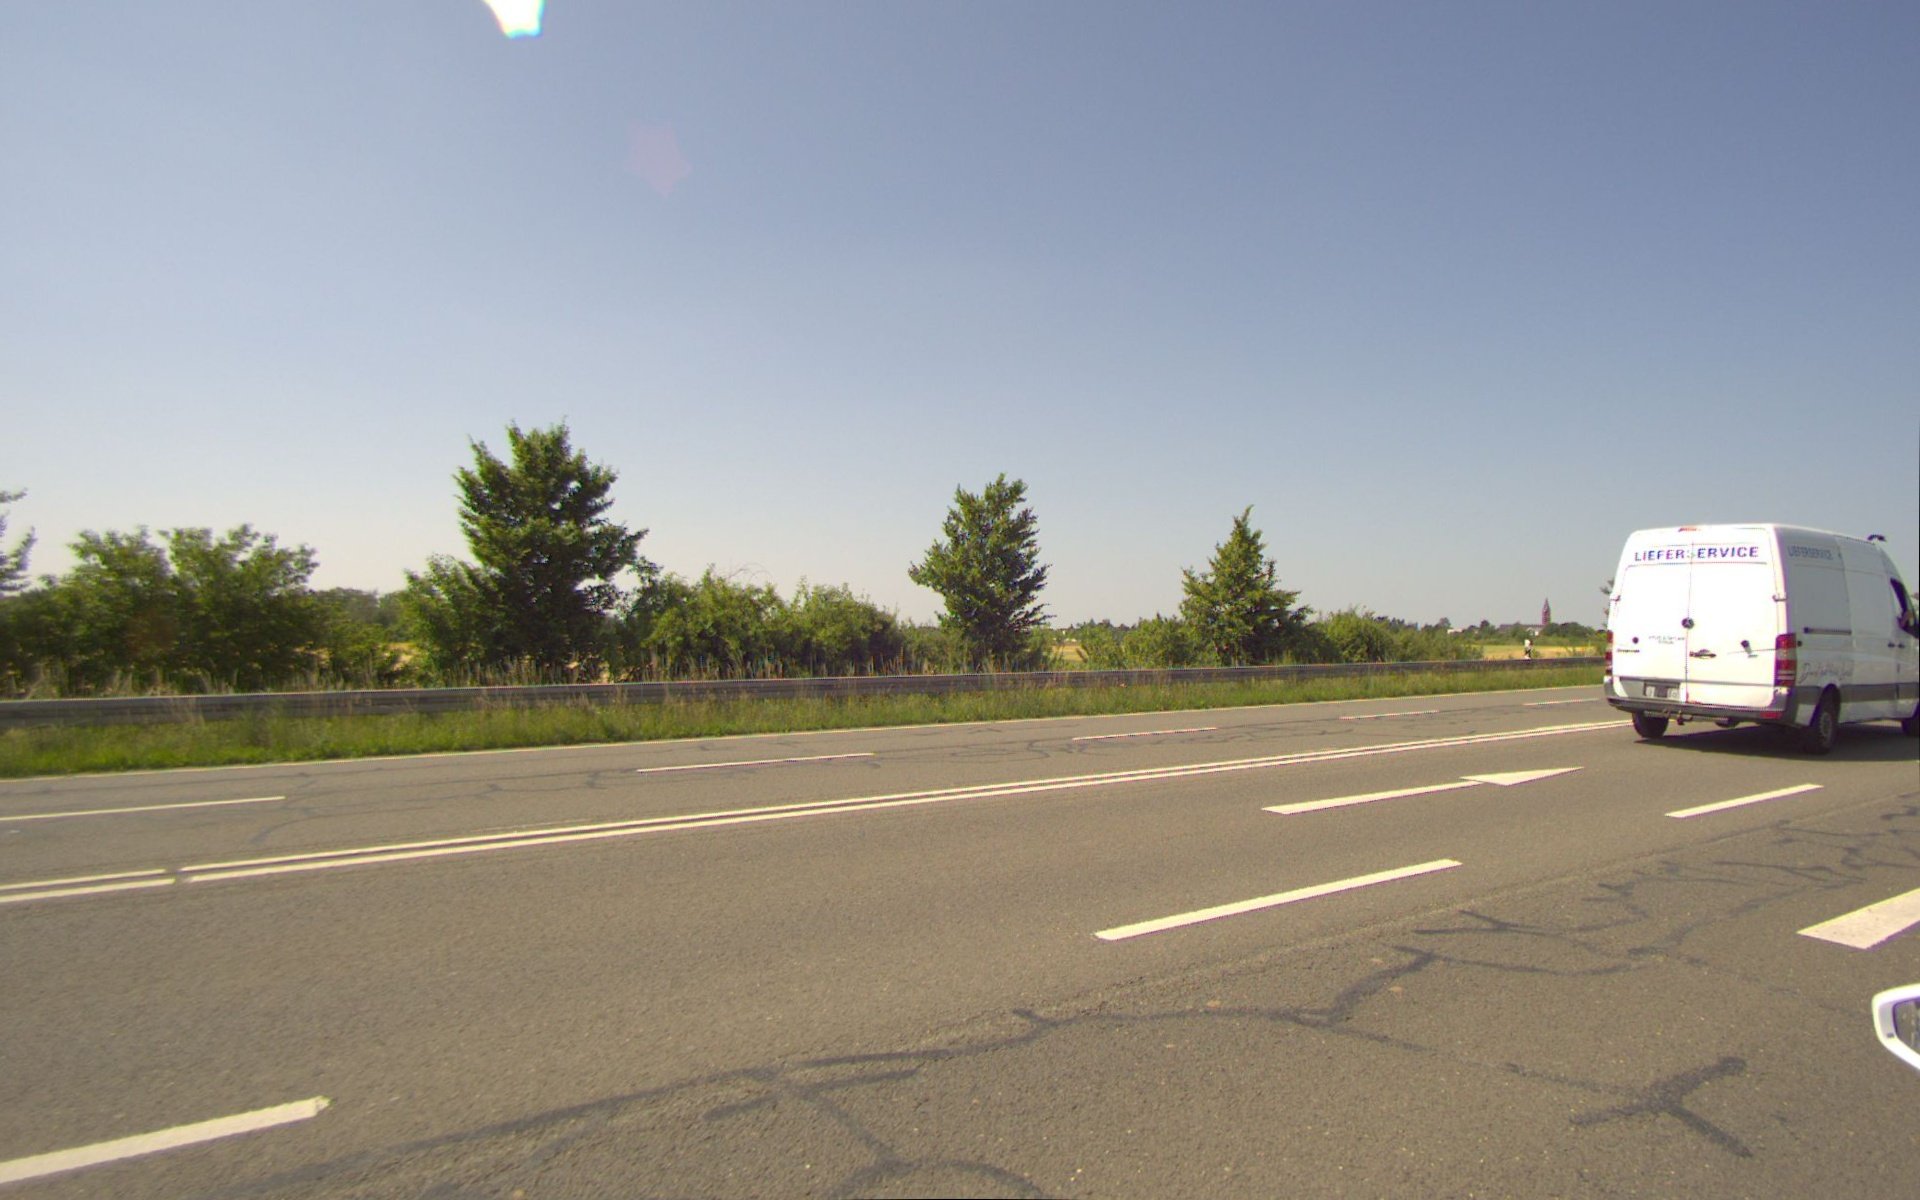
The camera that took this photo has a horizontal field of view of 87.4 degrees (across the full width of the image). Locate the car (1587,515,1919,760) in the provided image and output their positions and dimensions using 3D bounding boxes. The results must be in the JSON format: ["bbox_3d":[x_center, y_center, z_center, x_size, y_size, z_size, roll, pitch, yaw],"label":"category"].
[{"bbox_3d":[10.782,0.460,13.253,5.678,2.655,2.028,1,-1,-33],"label":"car"}]
